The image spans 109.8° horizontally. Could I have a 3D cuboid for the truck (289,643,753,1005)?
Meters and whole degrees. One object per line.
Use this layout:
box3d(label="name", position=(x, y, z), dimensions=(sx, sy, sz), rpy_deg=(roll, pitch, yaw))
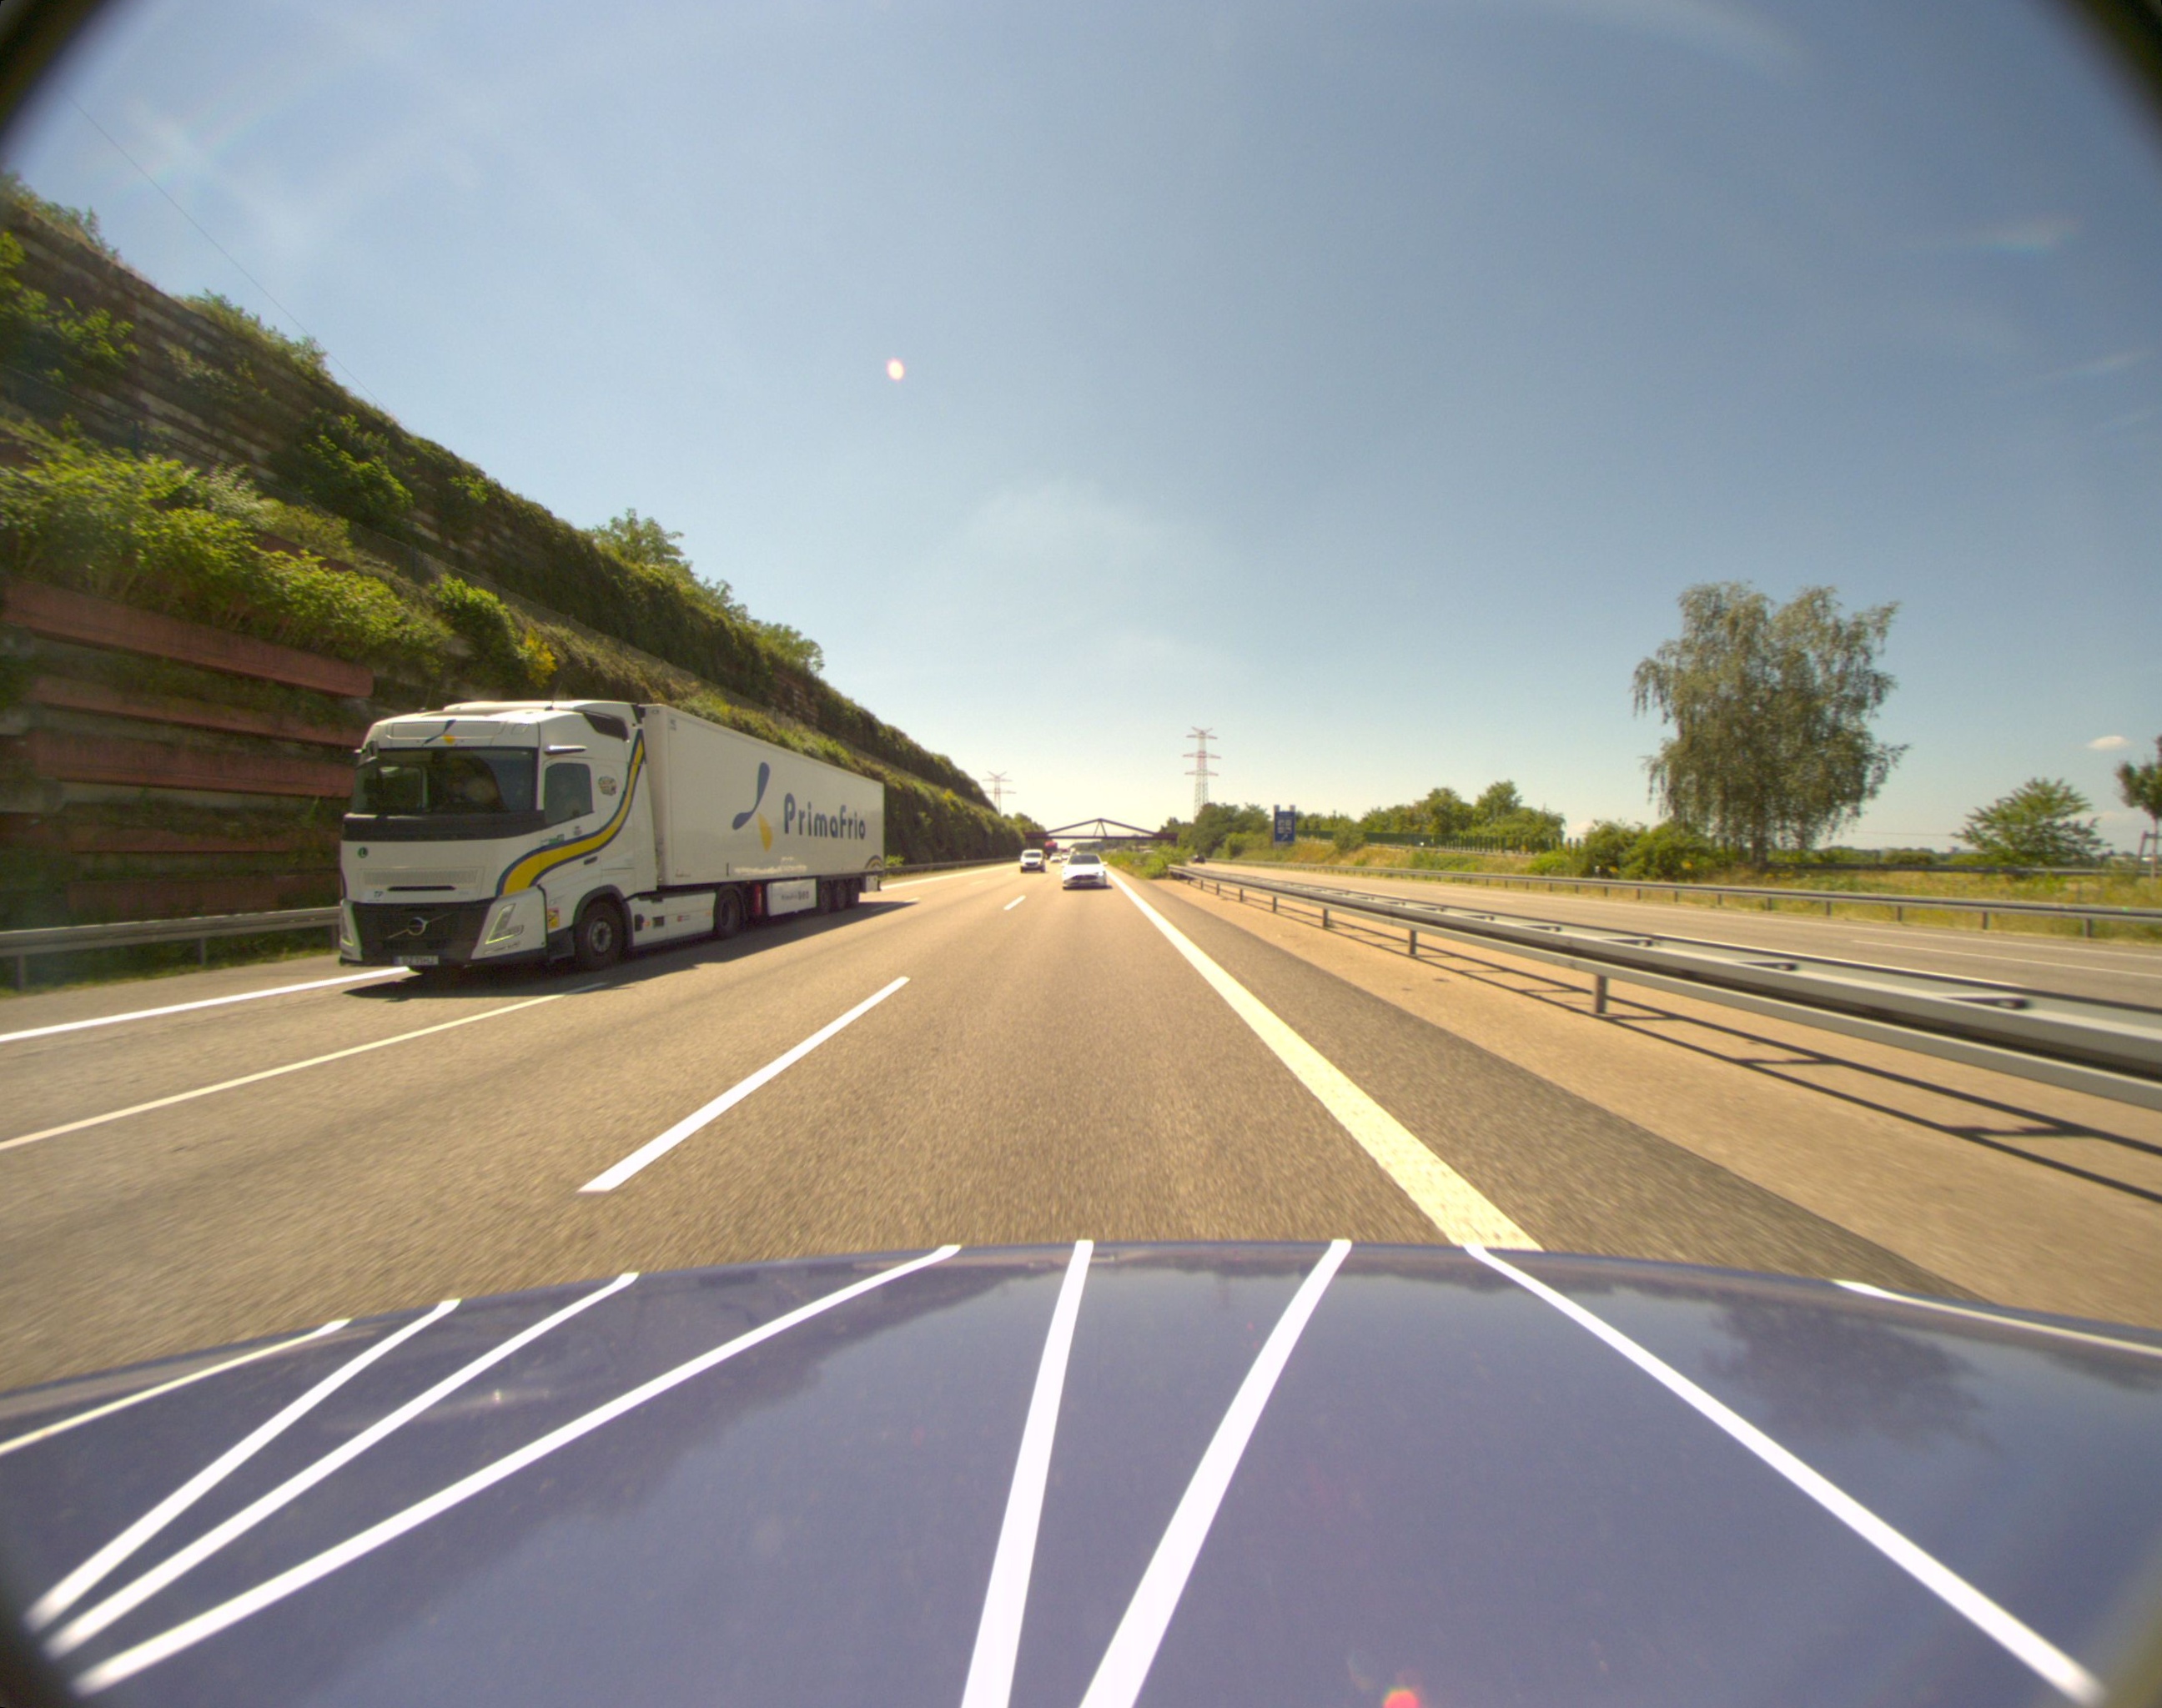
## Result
box3d(label="truck", position=(-7.857, -0.374, 11.961), dimensions=(2.514, 4.196, 6.255), rpy_deg=(0, 1, 1))

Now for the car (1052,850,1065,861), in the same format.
box3d(label="car", position=(-3.265, 0.233, 111.796), dimensions=(1.784, 1.475, 3.999), rpy_deg=(-1, 1, -1))

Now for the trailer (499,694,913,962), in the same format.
box3d(label="trailer", position=(-7.744, -0.459, 20.422), dimensions=(2.521, 4.187, 17.026), rpy_deg=(-1, 0, 0))

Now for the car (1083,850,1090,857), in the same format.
box3d(label="car", position=(1.734, -0.181, 225.034), dimensions=(1.998, 2.002, 4.000), rpy_deg=(-2, 1, 1))

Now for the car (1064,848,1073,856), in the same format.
box3d(label="car", position=(-2.447, -0.368, 154.077), dimensions=(1.784, 1.475, 3.999), rpy_deg=(-1, 1, -1))

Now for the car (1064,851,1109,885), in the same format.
box3d(label="car", position=(0.235, 0.605, 36.193), dimensions=(1.999, 1.474, 4.107), rpy_deg=(-1, 1, -1))

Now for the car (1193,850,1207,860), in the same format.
box3d(label="car", position=(19.100, 0.117, 122.290), dimensions=(1.545, 1.441, 4.798), rpy_deg=(1, 1, 0))

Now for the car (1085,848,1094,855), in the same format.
box3d(label="car", position=(1.833, -0.540, 157.459), dimensions=(1.784, 1.475, 3.999), rpy_deg=(0, 1, -1))

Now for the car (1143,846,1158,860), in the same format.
box3d(label="car", position=(10.090, -0.139, 110.420), dimensions=(1.767, 1.914, 4.770), rpy_deg=(0, 1, 0))

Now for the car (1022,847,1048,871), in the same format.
box3d(label="car", position=(-3.668, 0.364, 61.042), dimensions=(1.784, 1.783, 3.999), rpy_deg=(-1, 1, -1))
